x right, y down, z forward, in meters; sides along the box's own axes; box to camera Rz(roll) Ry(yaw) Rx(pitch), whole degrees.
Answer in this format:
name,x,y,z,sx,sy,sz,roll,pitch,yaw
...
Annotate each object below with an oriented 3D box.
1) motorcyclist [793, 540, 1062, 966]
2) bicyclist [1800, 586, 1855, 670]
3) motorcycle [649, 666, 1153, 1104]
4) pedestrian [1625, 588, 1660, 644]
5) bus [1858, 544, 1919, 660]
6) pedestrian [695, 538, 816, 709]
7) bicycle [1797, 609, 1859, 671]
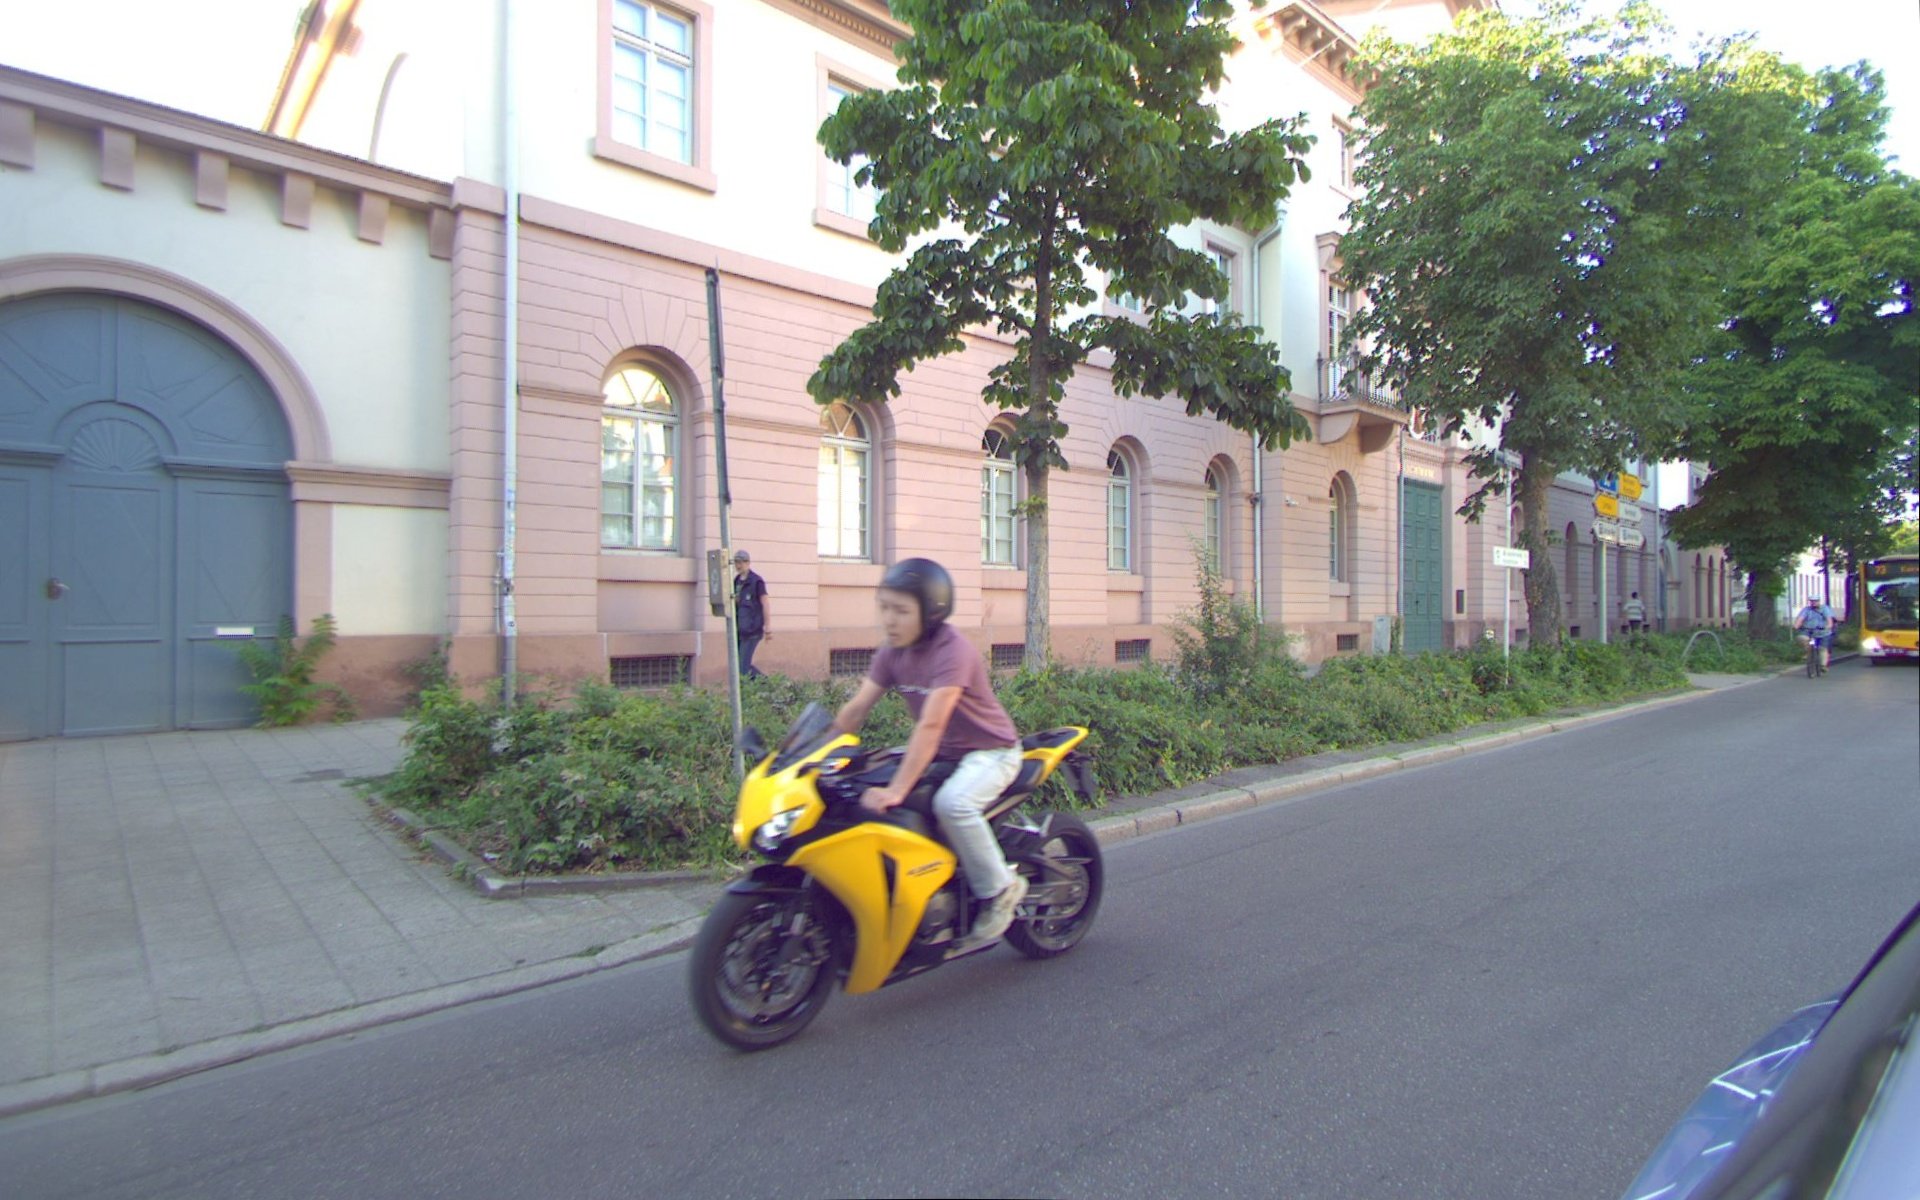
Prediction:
name,x,y,z,sx,sy,sz,roll,pitch,yaw
motorcyclist,-0.135,0.523,3.956,0.791,1.438,0.687,-2,-2,45
bicyclist,19.657,0.637,22.931,0.812,1.863,0.782,1,-3,-42
motorcycle,-0.132,0.897,3.951,0.791,1.175,1.935,-2,-2,44
pedestrian,22.811,0.519,33.813,0.914,1.855,0.799,1,-1,-44
bus,29.862,0.062,30.588,11.874,3.039,2.707,0,-2,-42
pedestrian,-2.359,0.248,11.679,1.064,1.862,0.799,1,1,-44
bicycle,19.673,0.885,22.932,2.042,1.347,0.782,0,-2,-43
